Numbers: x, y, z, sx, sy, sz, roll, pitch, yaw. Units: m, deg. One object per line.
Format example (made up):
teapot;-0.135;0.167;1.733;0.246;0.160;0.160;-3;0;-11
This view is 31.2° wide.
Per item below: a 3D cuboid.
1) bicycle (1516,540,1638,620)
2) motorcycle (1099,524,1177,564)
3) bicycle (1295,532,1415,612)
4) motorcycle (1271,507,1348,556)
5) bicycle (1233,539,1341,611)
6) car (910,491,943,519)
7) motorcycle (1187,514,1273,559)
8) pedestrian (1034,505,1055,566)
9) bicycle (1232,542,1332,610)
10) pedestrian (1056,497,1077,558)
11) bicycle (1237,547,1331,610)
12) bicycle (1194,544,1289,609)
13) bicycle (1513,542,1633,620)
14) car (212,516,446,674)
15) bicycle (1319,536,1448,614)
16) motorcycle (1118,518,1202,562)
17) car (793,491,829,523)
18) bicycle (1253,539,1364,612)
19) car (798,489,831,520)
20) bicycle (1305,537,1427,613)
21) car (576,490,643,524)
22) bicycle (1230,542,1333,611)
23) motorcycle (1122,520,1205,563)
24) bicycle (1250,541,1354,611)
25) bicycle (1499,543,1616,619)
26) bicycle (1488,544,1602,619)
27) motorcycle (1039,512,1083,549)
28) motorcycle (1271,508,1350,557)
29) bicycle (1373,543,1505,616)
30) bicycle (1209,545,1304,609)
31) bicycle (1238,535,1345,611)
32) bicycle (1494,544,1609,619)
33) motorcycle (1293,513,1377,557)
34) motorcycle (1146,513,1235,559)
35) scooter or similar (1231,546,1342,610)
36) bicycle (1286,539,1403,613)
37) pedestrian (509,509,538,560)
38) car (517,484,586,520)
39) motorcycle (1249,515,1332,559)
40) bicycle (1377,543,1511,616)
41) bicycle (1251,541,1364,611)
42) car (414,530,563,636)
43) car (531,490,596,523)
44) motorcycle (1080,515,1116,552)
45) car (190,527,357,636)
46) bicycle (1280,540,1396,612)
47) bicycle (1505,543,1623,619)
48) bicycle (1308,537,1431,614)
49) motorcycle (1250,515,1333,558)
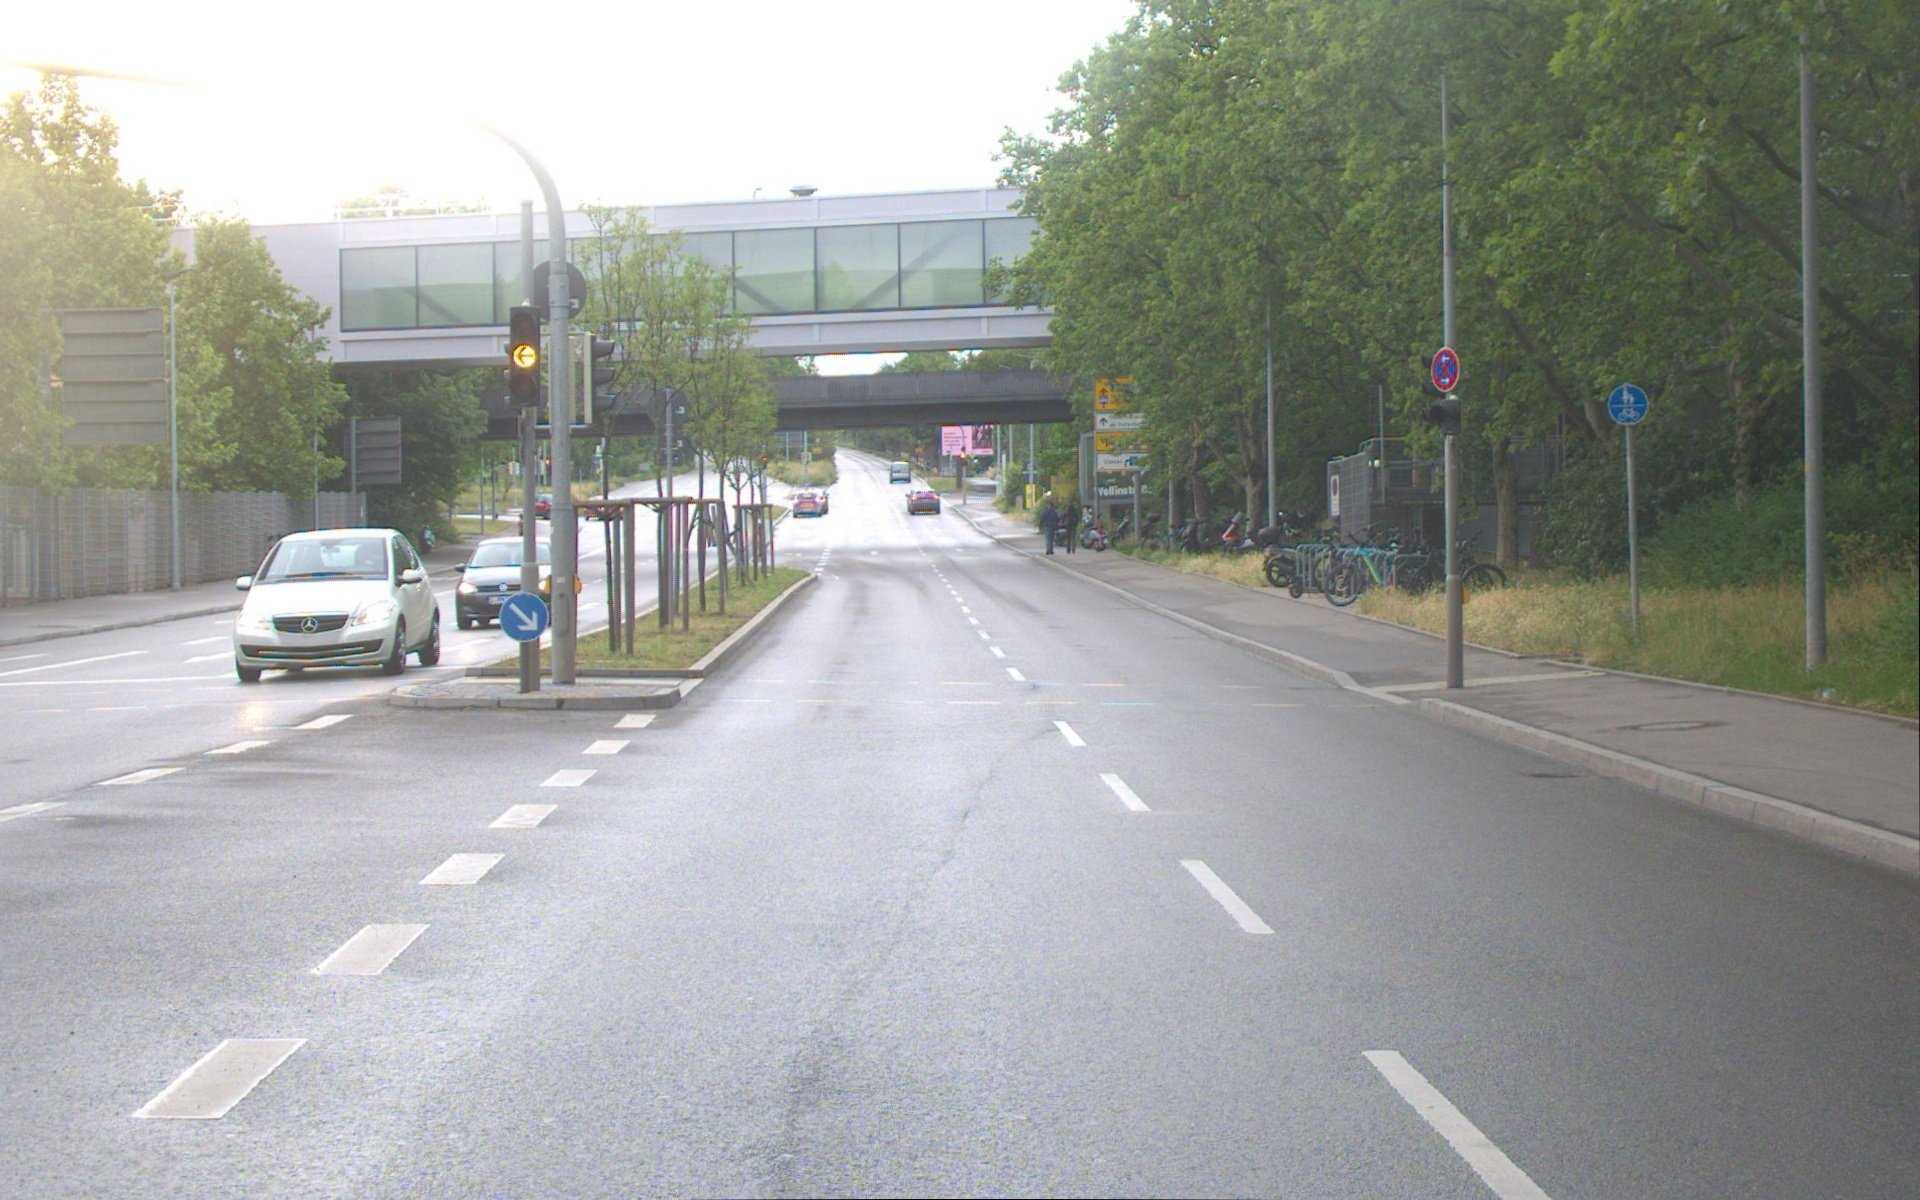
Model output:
bicycle;10.730;-0.343;59.851;1.990;1.324;0.576;2;0;0
motorcycle;5.608;-1.761;108.246;2.369;1.198;0.792;-1;1;7
bicycle;6.908;-0.486;60.152;1.990;1.336;0.541;2;0;0
motorcycle;11.004;-2.151;108.267;2.369;1.471;0.722;-1;1;7
bicycle;6.259;-0.477;65.882;1.990;1.324;0.576;2;0;0
car;-1.968;-5.628;203.018;1.875;1.492;4.068;2;0;0
motorcycle;7.607;-1.790;96.795;2.369;1.198;0.722;-1;1;7
pedestrian;2.806;-2.121;113.527;0.622;2.007;0.605;-2;1;0
bicycle;6.592;-0.485;70.362;1.960;1.324;0.576;2;0;0
pedestrian;3.523;-2.402;113.540;0.622;2.007;0.605;-2;1;0
bicycle;7.146;-0.476;75.875;1.963;1.324;0.654;2;0;0
bicycle;6.019;-0.505;73.568;1.963;1.324;0.654;2;0;0
bicycle;10.905;-0.340;61.179;1.990;1.324;0.576;2;0;0
car;-6.882;-0.090;37.855;1.877;1.619;3.779;-1;1;0
bicycle;6.876;-0.403;55.885;1.990;1.212;0.541;2;0;0
motorcycle;5.804;-1.734;99.762;2.369;1.198;0.722;-1;1;7
car;-8.960;-5.596;206.645;1.993;1.756;4.000;2;0;0
bicycle;6.592;-0.466;65.073;1.990;1.324;0.576;2;0;0
car;-8.928;-5.844;211.150;1.884;1.756;3.969;2;0;0
bicycle;6.924;-0.418;58.698;1.990;1.237;0.541;2;0;0
car;-21.557;-5.725;211.580;1.994;2.007;3.998;2;0;-44
bicycle;6.466;-0.475;69.124;1.990;1.324;0.576;2;0;0
motorcycle;6.021;-1.740;101.535;2.369;1.198;0.722;-1;1;7
bicycle;6.802;-0.477;68.413;1.990;1.324;0.576;2;0;0
bicycle;10.870;-0.343;62.608;1.990;1.324;0.576;2;0;0
bicycle;10.880;-0.344;63.925;1.990;1.324;0.576;2;0;0
motorcycle;3.671;-2.520;125.369;0.790;1.307;2.377;-2;1;-19
motorcycle;10.913;-2.108;107.033;2.369;1.471;0.722;-1;1;7
bicycle;7.575;-0.321;54.427;1.990;1.091;0.541;2;0;0
bicycle;6.407;-0.495;74.372;1.963;1.324;0.654;2;0;0
bicycle;6.512;-0.535;67.559;1.990;1.425;0.723;2;0;0
bicycle;10.877;-0.344;63.256;1.990;1.324;0.576;2;0;0
motorcycle;10.786;-1.864;98.928;2.369;1.198;0.722;-1;1;7
motorcycle;6.378;-1.778;95.030;2.369;1.198;0.722;-1;1;7
scooter or similar;6.067;-0.412;63.960;1.990;1.134;0.541;2;0;0
bicycle;6.803;-0.424;60.844;1.990;1.237;0.541;2;0;0
pedestrian;-17.435;-2.611;137.320;0.872;1.997;0.854;-1;1;15
car;-24.159;-5.797;203.462;1.994;2.007;3.998;2;0;-44
motorcycle;9.638;-1.835;100.268;2.369;1.198;0.722;-1;1;7
bicycle;7.580;-0.320;53.858;1.990;1.091;0.541;2;0;0
bicycle;6.373;-0.439;63.167;1.990;1.237;0.541;2;0;0
car;-7.581;-0.299;55.573;1.877;1.619;3.779;-1;1;0
car;-25.190;-5.906;218.320;1.994;2.007;3.998;2;0;-44
motorcycle;4.882;-2.359;122.098;0.790;1.307;2.377;-2;1;-9
car;-10.785;-0.322;54.237;1.877;1.619;3.779;-1;1;0
bicycle;6.788;-0.426;61.793;1.990;1.237;0.541;2;0;0
bicycle;10.877;-0.342;61.943;1.990;1.324;0.576;2;0;0
bicycle;6.917;-0.413;58.102;1.990;1.229;0.541;2;0;0
motorcycle;9.740;-1.860;101.048;2.369;1.198;0.722;-1;1;7
